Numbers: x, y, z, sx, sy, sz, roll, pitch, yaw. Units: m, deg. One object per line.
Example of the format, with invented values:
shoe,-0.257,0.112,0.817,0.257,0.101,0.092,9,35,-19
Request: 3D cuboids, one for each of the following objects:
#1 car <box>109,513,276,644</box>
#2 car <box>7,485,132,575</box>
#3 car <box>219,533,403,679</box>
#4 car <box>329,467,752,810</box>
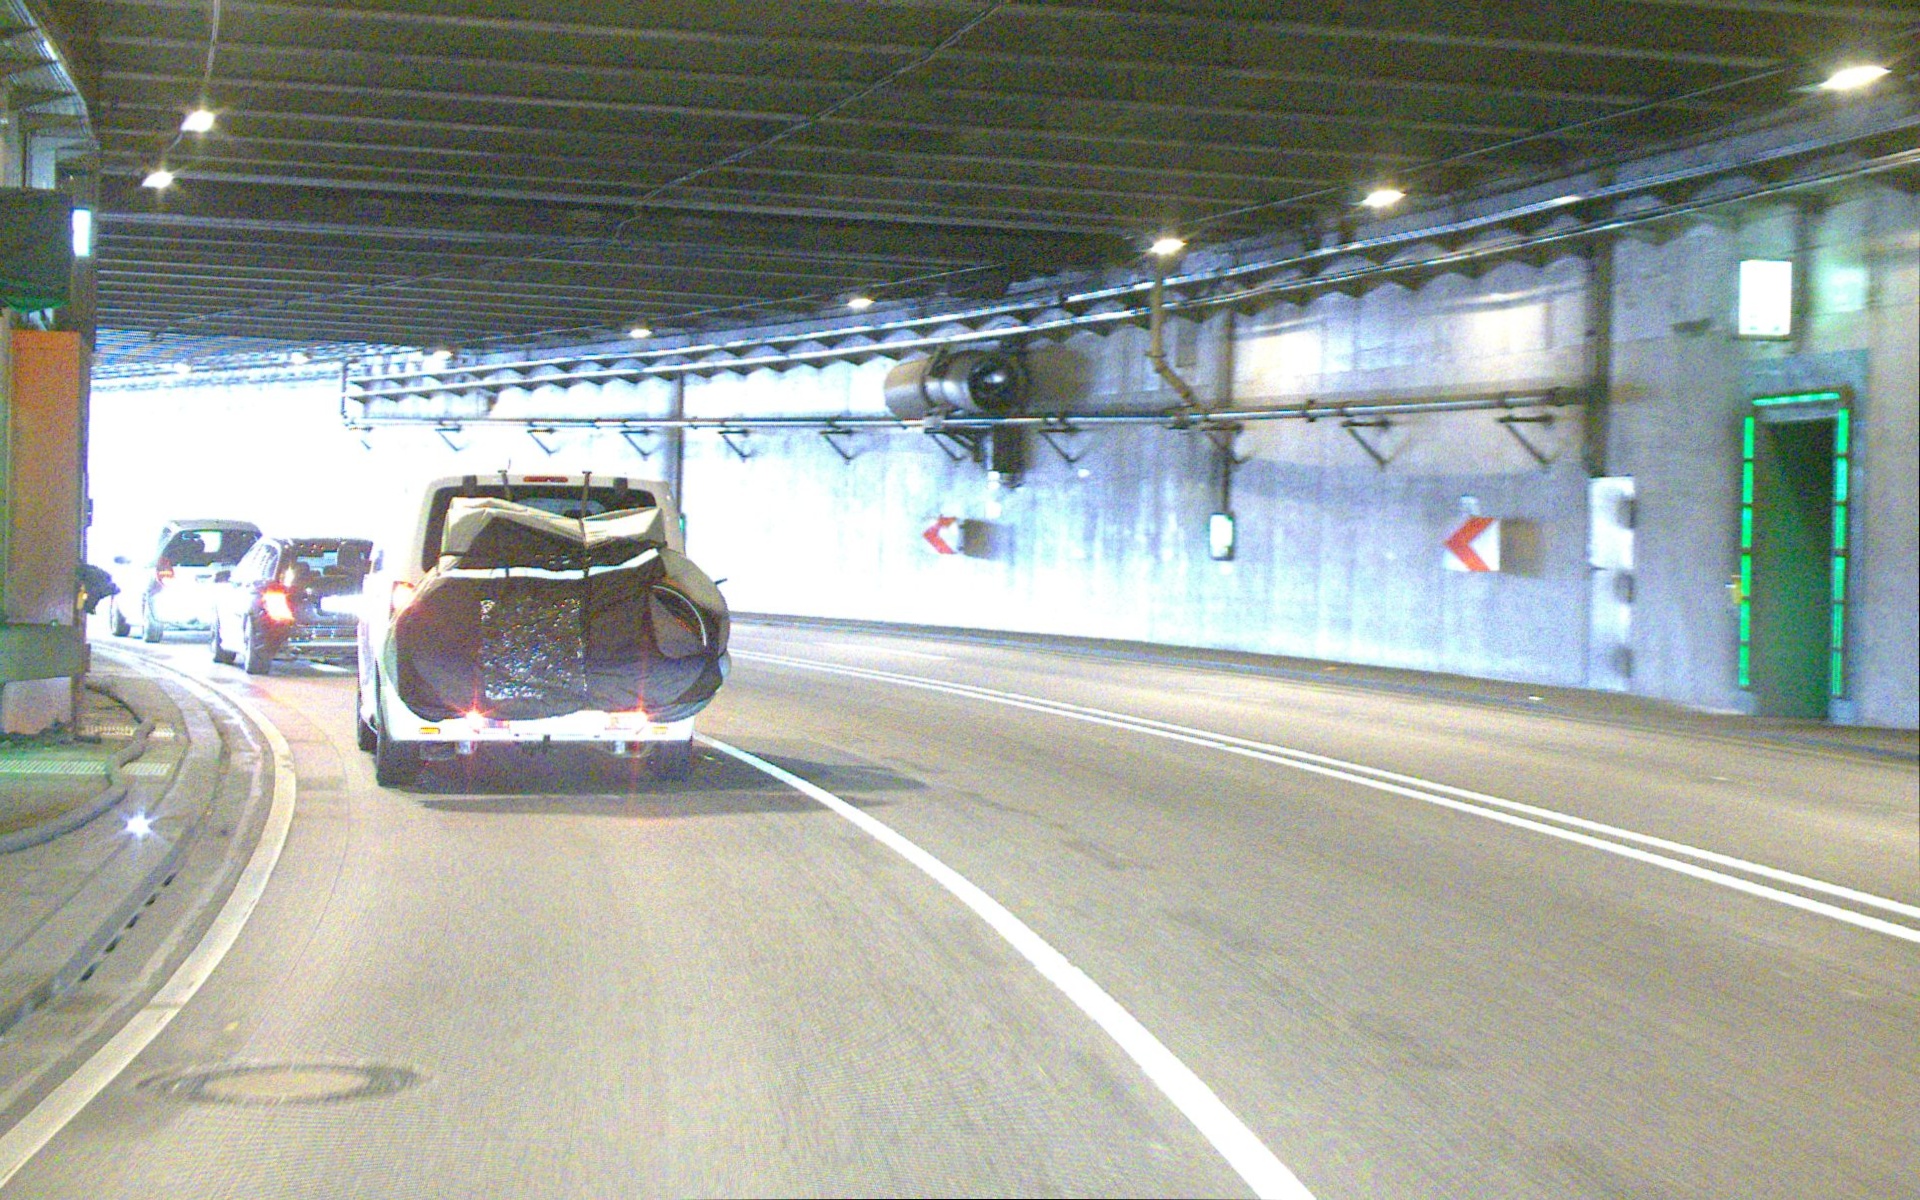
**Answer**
car,-9.935,-0.297,44.363,1.602,1.588,3.357,2,0,-21
car,-16.888,-1.314,65.122,1.602,1.624,3.356,1,0,-27
car,-6.698,0.024,35.281,1.602,1.390,3.278,0,2,-15
car,-2.735,0.133,21.215,1.993,1.841,5.303,0,2,-13
